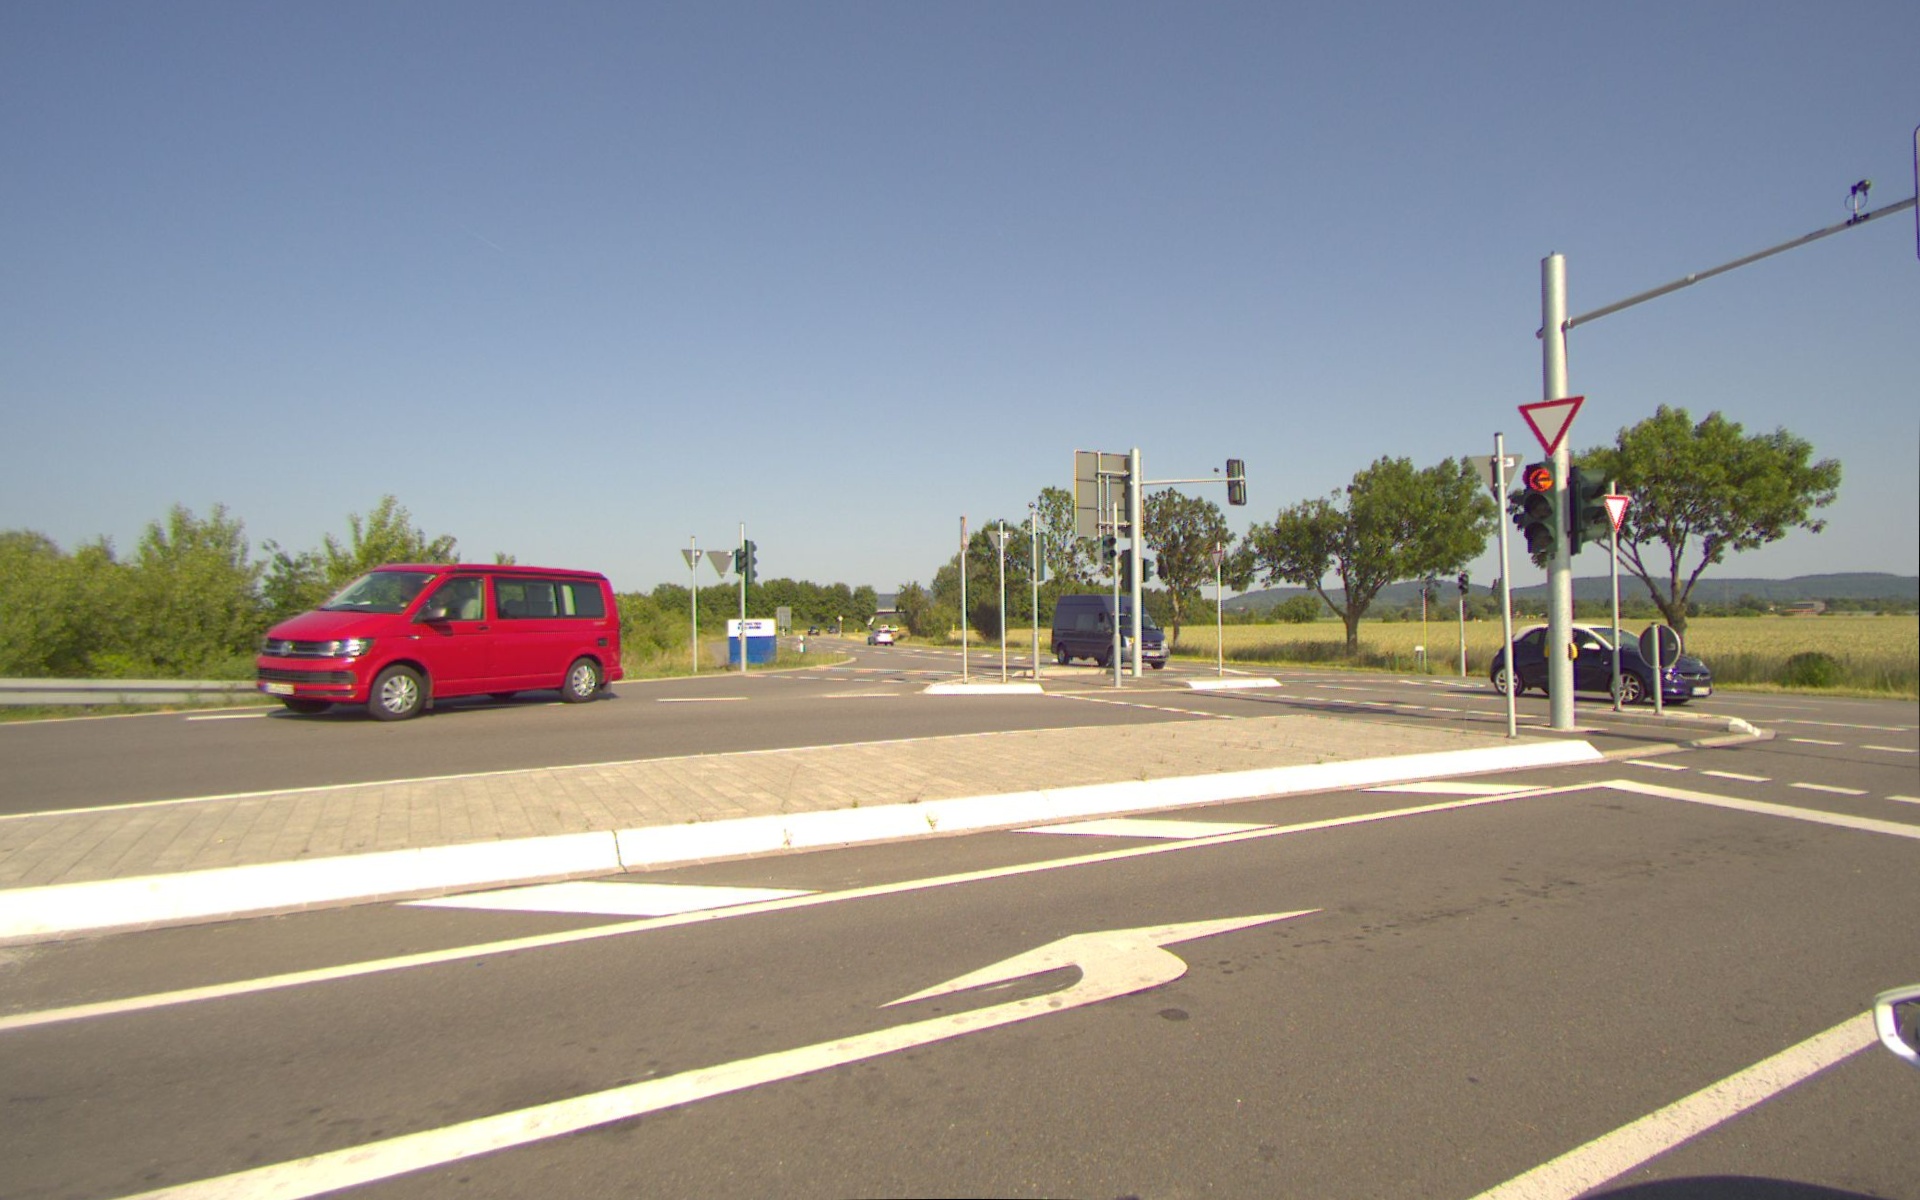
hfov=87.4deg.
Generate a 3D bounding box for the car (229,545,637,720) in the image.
[{"bbox_3d":[-6.910,0.457,13.904,1.804,1.966,4.923,0,-2,24],"label":"car"}]

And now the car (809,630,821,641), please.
[{"bbox_3d":[-25.028,6.133,173.837,1.963,1.746,4.612,1,0,-8],"label":"car"}]

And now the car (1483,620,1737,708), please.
[{"bbox_3d":[12.271,1.153,19.198,1.706,1.476,3.714,0,-2,-27],"label":"car"}]

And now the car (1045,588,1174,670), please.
[{"bbox_3d":[5.182,1.015,35.852,2.003,2.657,5.723,0,-1,-21],"label":"car"}]
